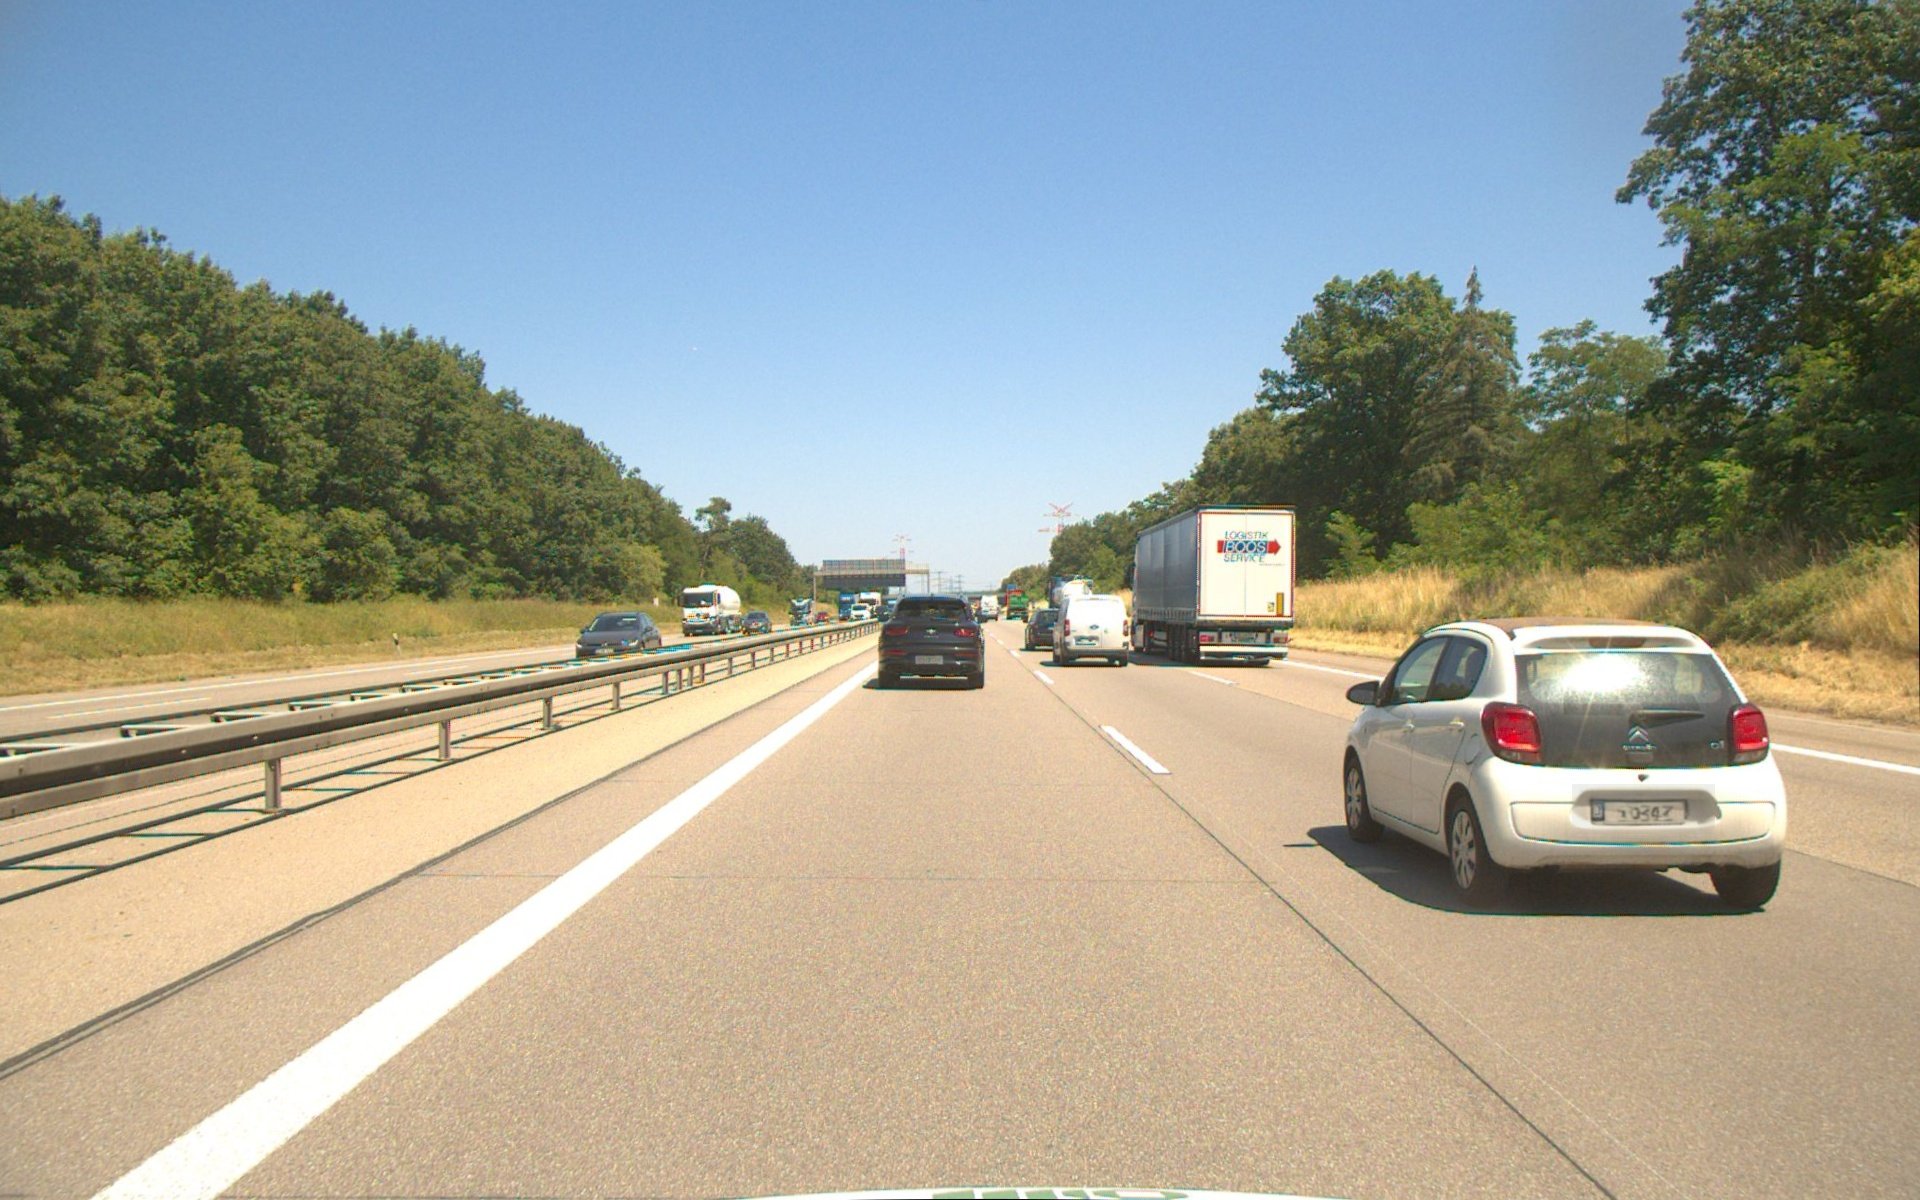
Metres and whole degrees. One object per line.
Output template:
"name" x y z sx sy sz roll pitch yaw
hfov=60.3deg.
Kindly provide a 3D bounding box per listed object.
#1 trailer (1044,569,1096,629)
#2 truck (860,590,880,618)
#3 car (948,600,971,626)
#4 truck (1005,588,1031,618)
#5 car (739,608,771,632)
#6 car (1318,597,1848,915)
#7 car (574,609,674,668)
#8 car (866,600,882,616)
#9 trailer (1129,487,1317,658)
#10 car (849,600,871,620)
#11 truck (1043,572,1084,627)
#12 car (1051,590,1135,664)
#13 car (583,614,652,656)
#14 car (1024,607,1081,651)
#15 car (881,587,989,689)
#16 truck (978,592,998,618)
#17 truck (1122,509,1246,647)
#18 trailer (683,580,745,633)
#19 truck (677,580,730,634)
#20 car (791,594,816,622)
"trailer" 7.555 -0.059 115.048 2.628 3.904 12.008 1 0 -1
"truck" -13.354 0.550 246.073 2.614 4.059 6.340 -2 0 -1
"car" -0.018 0.912 118.230 1.593 1.785 3.804 0 0 0
"truck" 7.664 0.397 219.889 2.928 3.794 10.088 1 0 -1
"car" -13.603 1.291 109.926 1.599 1.499 3.936 -2 0 0
"car" 3.435 0.751 9.975 1.673 1.521 4.023 0 0 0
"car" -9.251 1.022 45.912 1.674 1.435 5.083 -3 0 0
"car" -11.190 1.046 215.699 1.838 1.880 5.833 -2 0 0
"trailer" 7.388 -0.670 48.785 3.219 4.293 13.562 1 0 -1
"car" -10.340 1.021 171.359 1.955 1.981 5.741 -2 0 -1
"truck" 7.507 -0.047 120.750 2.628 3.904 4.443 1 0 -1
"car" 3.479 0.693 44.168 1.777 1.859 5.110 0 0 -1
"car" -13.555 1.358 65.782 1.640 1.468 5.135 -2 0 0
"car" 3.217 1.002 58.315 1.738 1.498 3.872 0 0 -1
"car" -0.490 0.649 32.122 1.901 1.782 5.812 0 1 -1
"truck" 3.169 0.581 188.786 2.018 2.965 7.002 0 0 -1
"truck" 7.341 -0.679 55.005 3.219 4.293 6.006 1 0 -1
"trailer" -17.702 0.462 119.871 2.628 3.494 11.798 -2 0 0
"truck" -17.675 0.460 114.378 2.628 3.494 6.144 -2 0 0
"car" -17.170 0.869 181.593 2.168 2.907 6.452 -2 0 -1
